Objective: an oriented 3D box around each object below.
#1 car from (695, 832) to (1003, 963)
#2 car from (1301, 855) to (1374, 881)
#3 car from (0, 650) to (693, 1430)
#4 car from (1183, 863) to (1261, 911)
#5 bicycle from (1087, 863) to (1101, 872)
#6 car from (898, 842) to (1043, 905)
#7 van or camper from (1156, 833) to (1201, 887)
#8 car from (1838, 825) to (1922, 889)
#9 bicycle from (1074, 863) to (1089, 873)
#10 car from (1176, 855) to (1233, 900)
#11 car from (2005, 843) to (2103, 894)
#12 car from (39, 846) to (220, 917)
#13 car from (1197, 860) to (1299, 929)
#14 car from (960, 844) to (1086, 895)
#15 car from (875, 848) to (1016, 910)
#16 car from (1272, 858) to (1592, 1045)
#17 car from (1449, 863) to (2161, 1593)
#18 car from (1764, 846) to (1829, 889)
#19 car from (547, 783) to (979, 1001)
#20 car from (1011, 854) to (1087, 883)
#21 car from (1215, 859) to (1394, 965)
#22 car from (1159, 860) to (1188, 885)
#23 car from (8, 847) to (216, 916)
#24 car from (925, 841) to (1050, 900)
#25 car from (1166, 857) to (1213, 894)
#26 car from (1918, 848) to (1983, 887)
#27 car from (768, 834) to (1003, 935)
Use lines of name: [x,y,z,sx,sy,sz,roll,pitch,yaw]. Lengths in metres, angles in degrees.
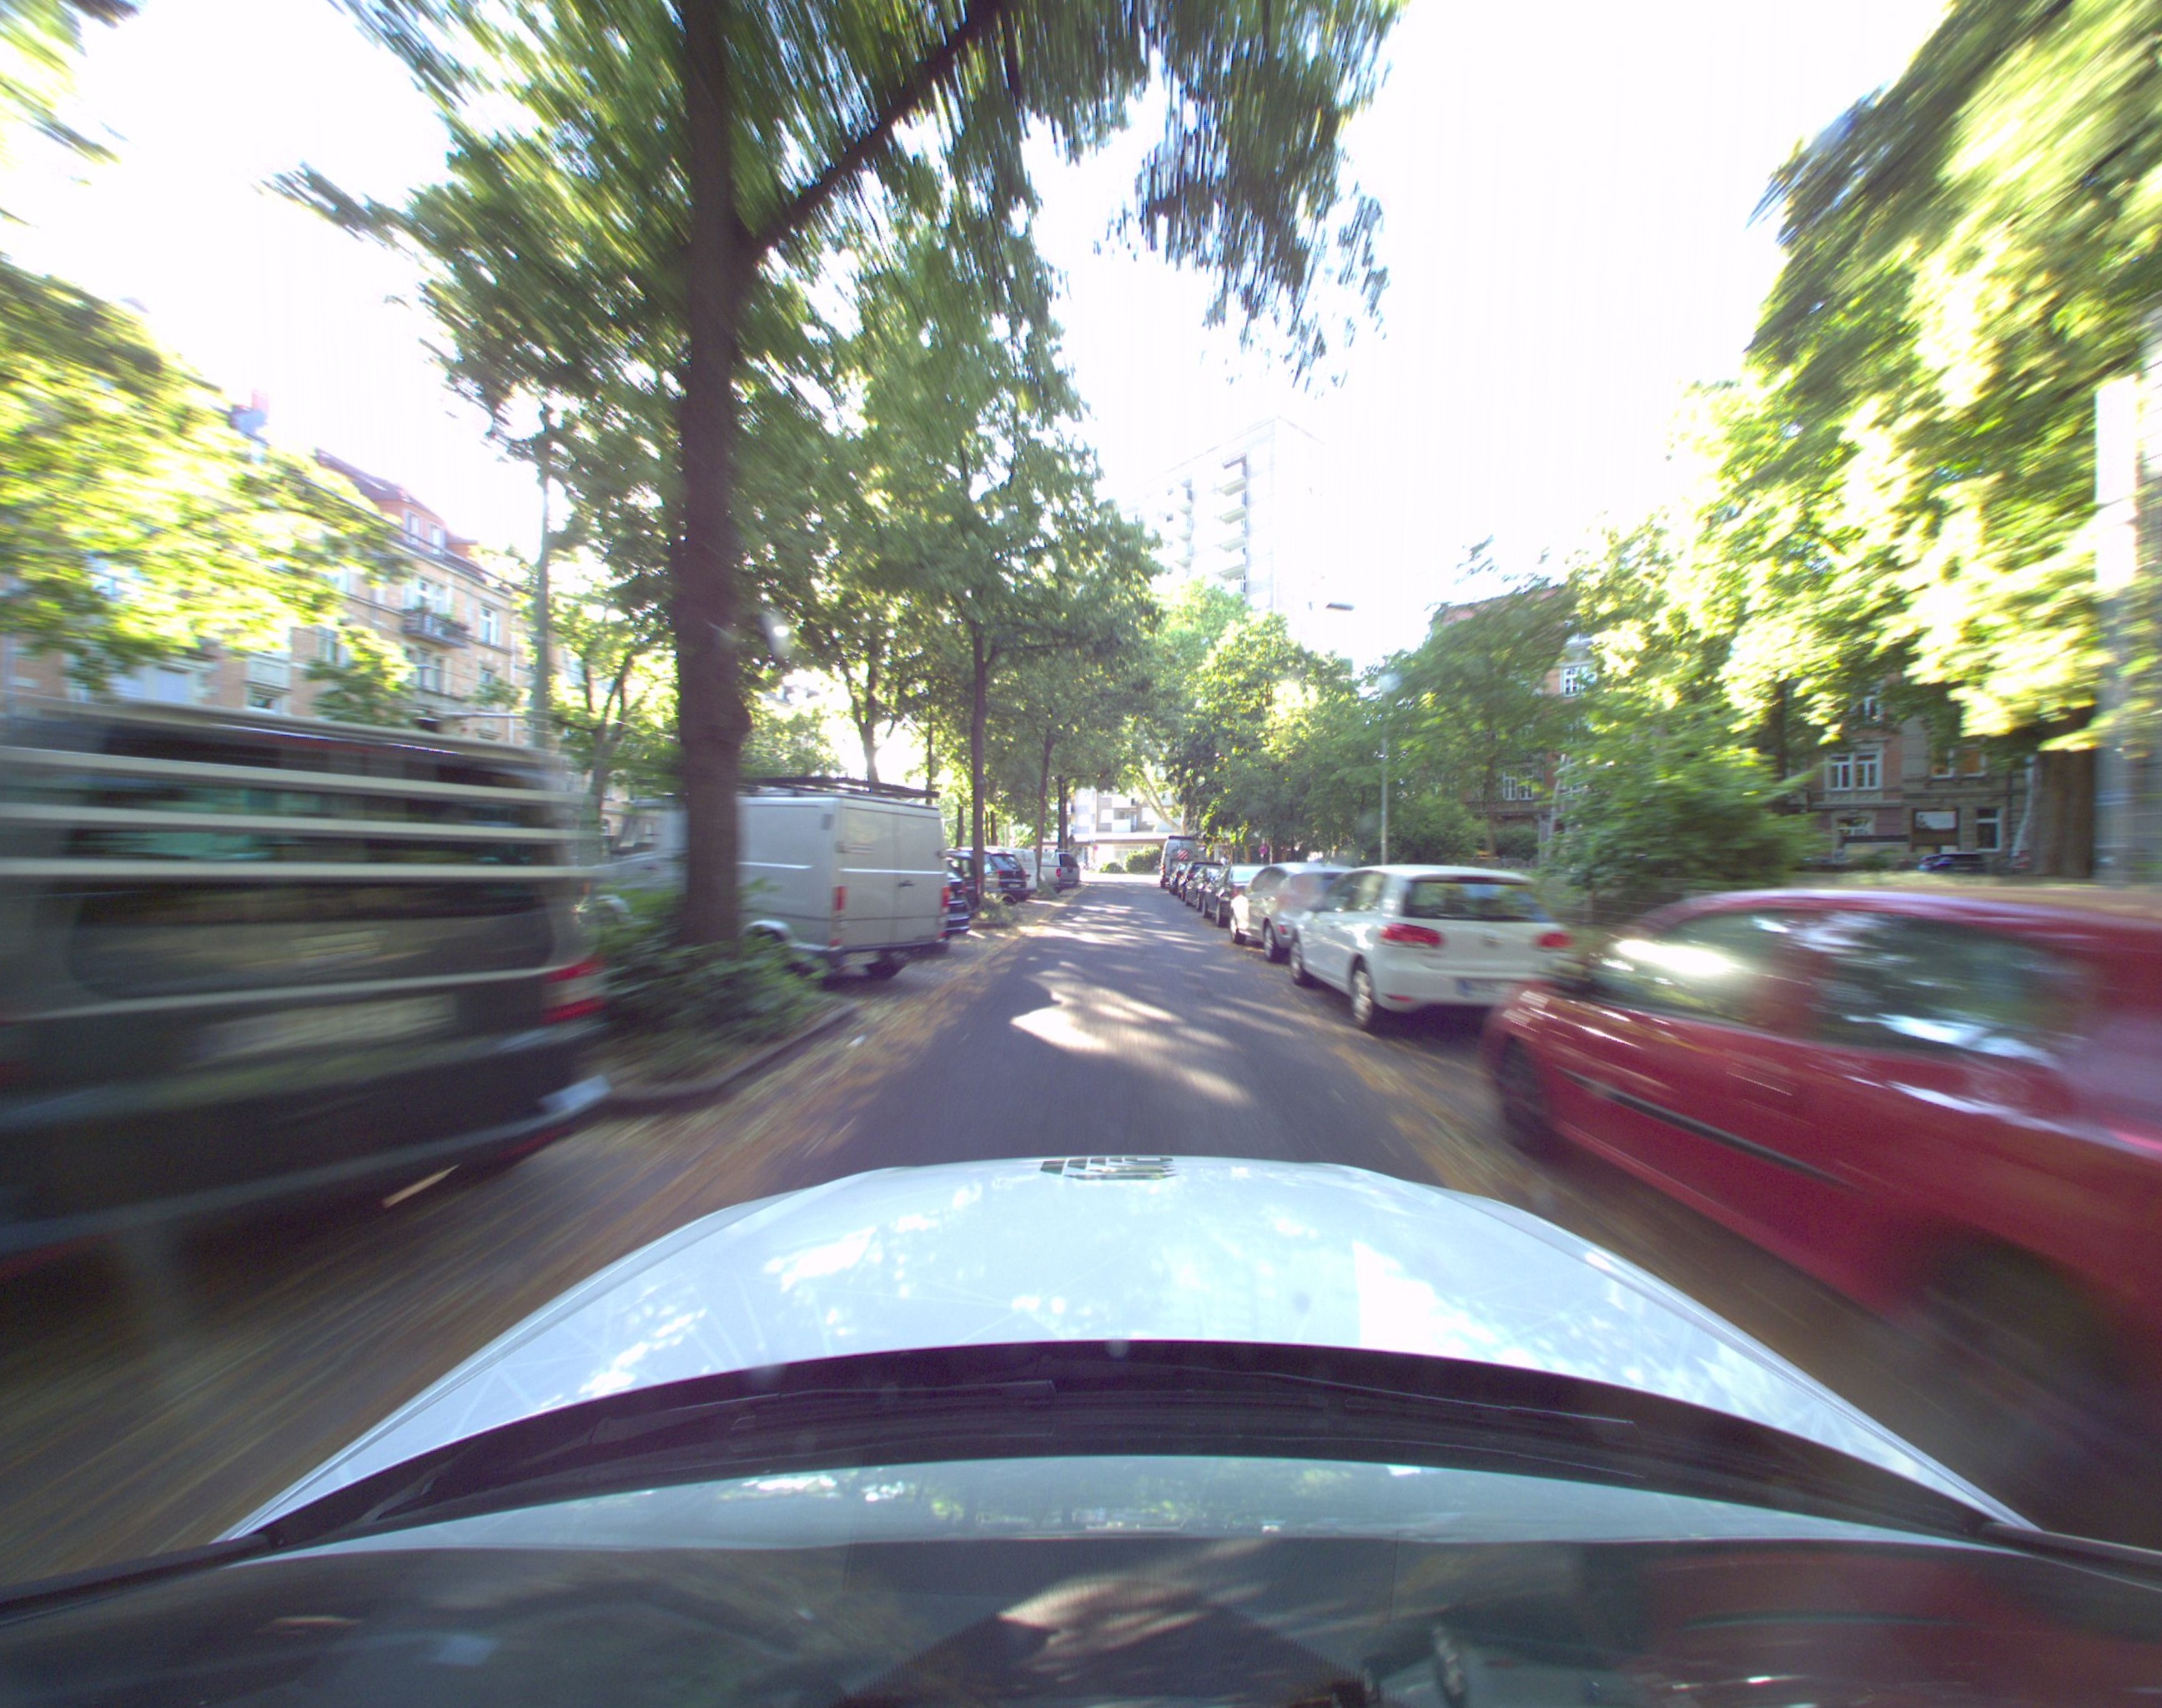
car: [-3.711,0.598,12.977,4.464,1.616,1.945,3,0,26]
car: [16.691,0.878,53.132,1.751,1.552,4.225,5,-4,-42]
car: [-4.168,0.393,3.957,4.653,1.943,1.946,3,0,34]
car: [4.133,0.932,24.532,1.674,1.283,4.288,1,0,1]
bicycle: [1.319,1.356,81.934,0.546,0.904,1.718,1,0,-32]
car: [-3.456,0.572,25.207,4.107,1.644,1.927,3,0,34]
van or camper: [5.300,0.333,44.897,2.075,2.762,5.849,1,0,3]
car: [33.526,0.161,34.237,2.342,2.456,5.541,-1,-1,44]
bicycle: [0.043,1.424,83.917,0.642,1.022,2.068,1,0,-30]
car: [4.525,0.825,30.314,1.673,1.526,4.290,1,0,3]
car: [36.999,0.544,31.082,1.975,1.783,4.023,-1,-1,44]
car: [-19.417,0.503,16.594,4.135,1.310,1.646,0,0,30]
car: [3.821,0.861,19.381,1.674,1.424,4.662,1,0,2]
car: [-2.469,0.630,34.409,4.939,1.781,1.999,3,0,30]
car: [-3.747,0.670,22.476,3.384,1.425,1.845,3,0,33]
car: [3.263,0.785,8.495,1.674,1.454,4.077,1,0,1]
car: [3.027,0.782,3.263,1.585,1.454,3.556,1,0,1]
car: [31.872,0.604,36.239,1.975,1.783,4.023,-1,-1,44]
car: [-4.155,0.282,10.309,5.445,2.137,2.094,3,0,31]
car: [-1.946,0.880,49.164,4.148,1.439,1.842,3,0,27]
car: [3.465,0.825,13.401,1.676,1.454,4.072,1,0,-3]
car: [5.877,1.140,51.833,1.672,1.446,3.878,3,0,6]
car: [-28.380,0.743,24.043,1.845,1.782,3.508,3,1,0]
car: [-3.308,0.552,28.429,4.108,1.781,1.895,3,0,38]
car: [4.714,0.899,35.891,1.673,1.526,4.493,1,0,3]
car: [42.309,0.663,39.708,1.975,1.783,4.023,-1,-1,44]
car: [-3.957,0.540,16.296,4.462,1.616,1.865,3,0,31]
